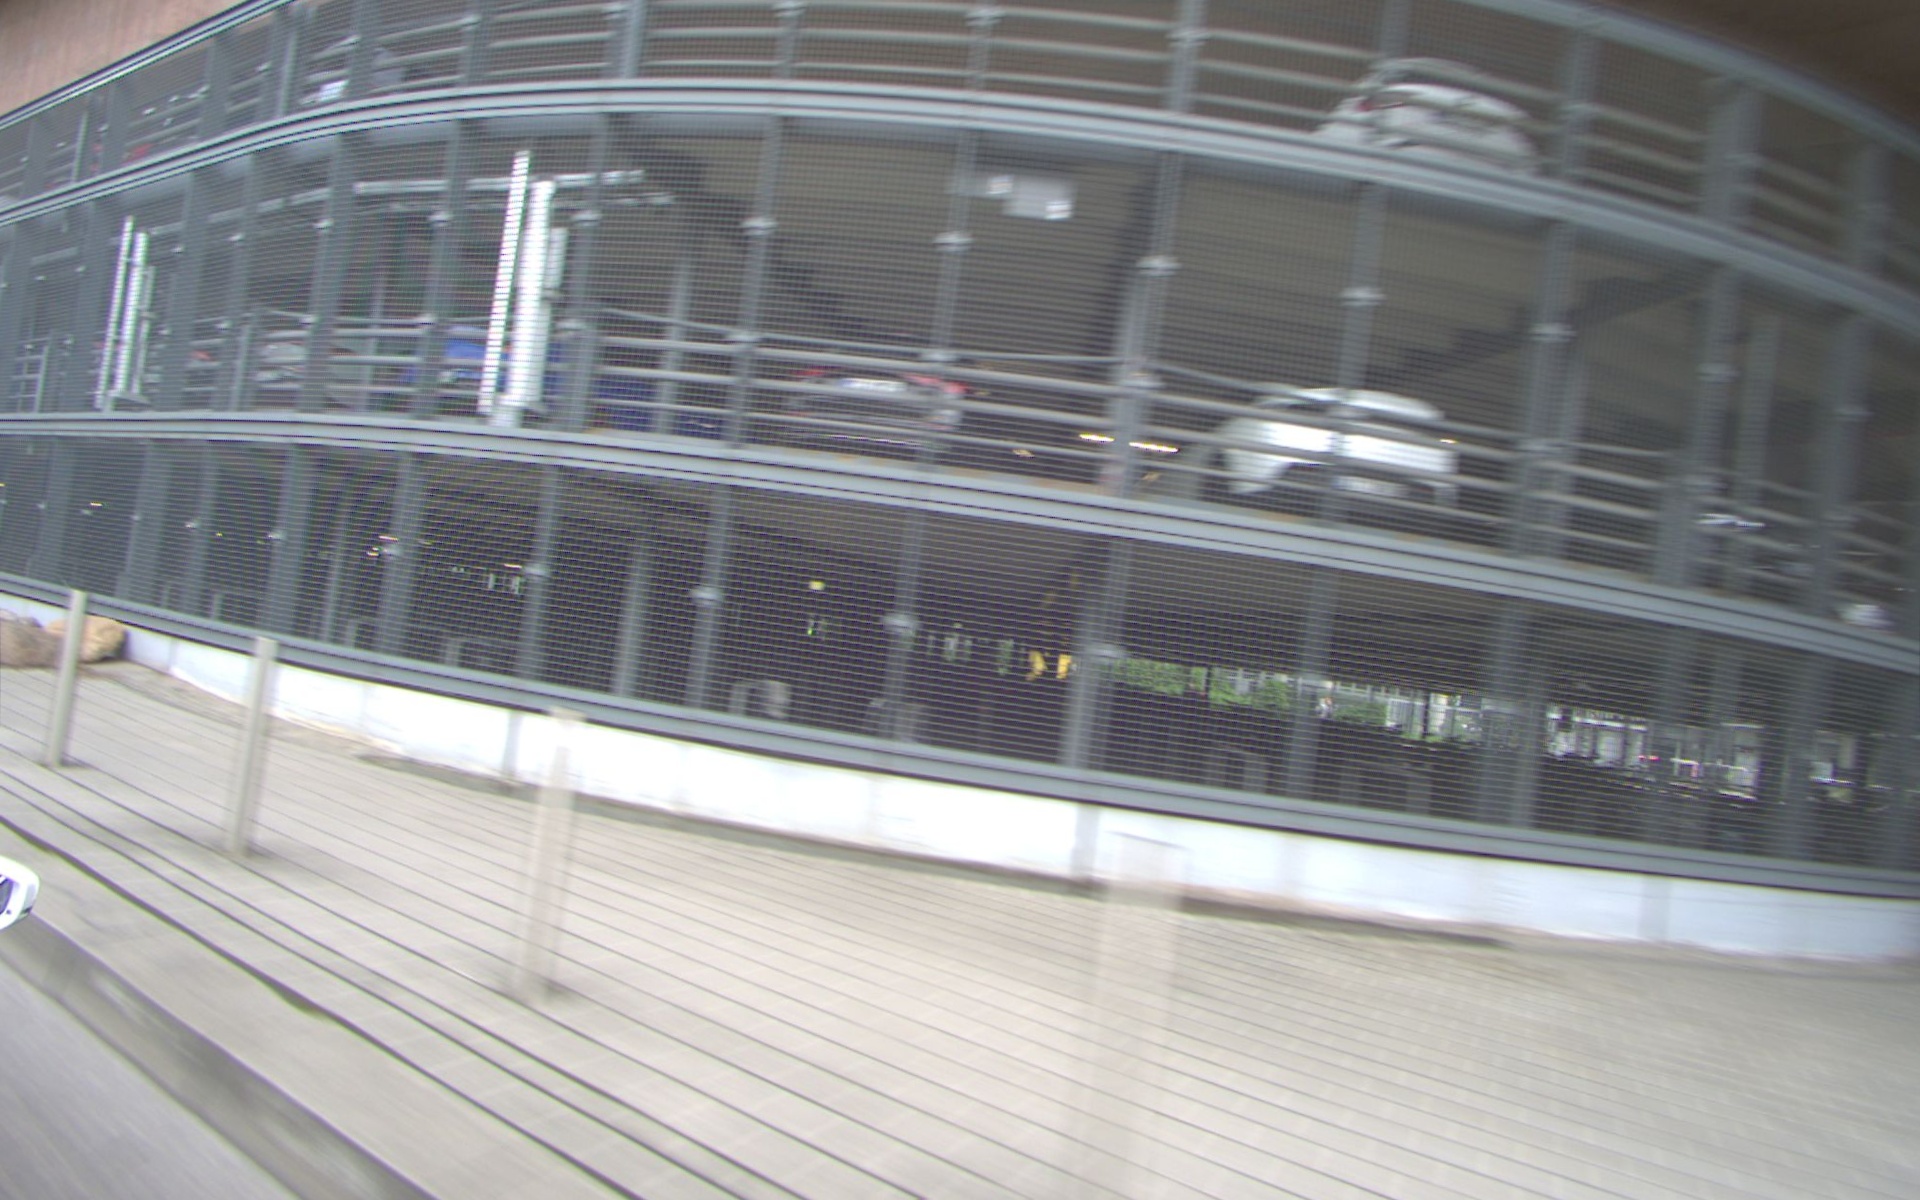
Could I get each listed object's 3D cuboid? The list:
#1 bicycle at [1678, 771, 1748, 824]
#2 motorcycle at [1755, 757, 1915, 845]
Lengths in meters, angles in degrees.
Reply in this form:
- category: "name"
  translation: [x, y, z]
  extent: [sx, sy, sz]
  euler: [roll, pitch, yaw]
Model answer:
- category: "bicycle"
  translation: [17.340, 4.537, 23.204]
  extent: [0.466, 0.906, 1.507]
  euler: [9, -1, 6]
- category: "motorcycle"
  translation: [18.363, 4.195, 21.193]
  extent: [2.324, 1.290, 0.673]
  euler: [8, -1, 32]
